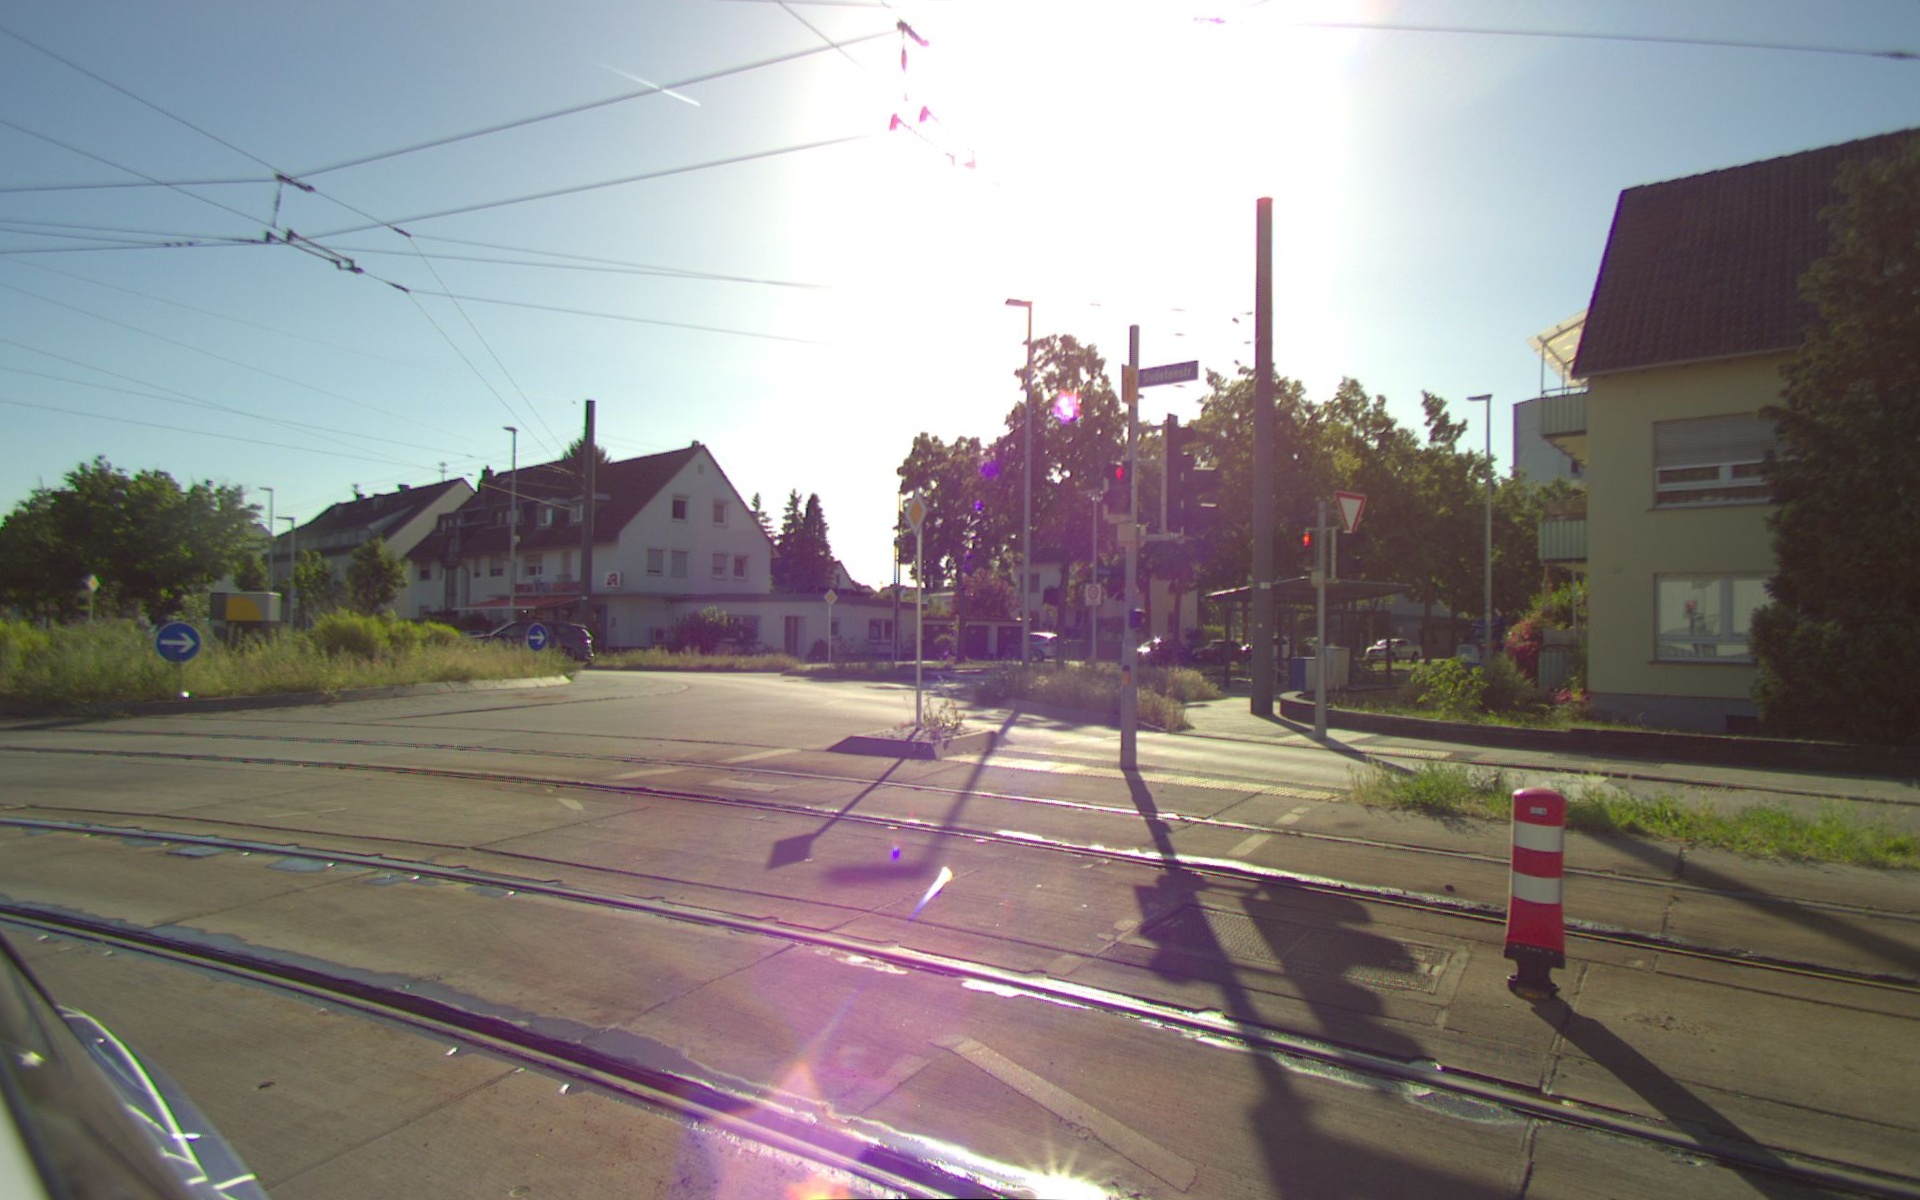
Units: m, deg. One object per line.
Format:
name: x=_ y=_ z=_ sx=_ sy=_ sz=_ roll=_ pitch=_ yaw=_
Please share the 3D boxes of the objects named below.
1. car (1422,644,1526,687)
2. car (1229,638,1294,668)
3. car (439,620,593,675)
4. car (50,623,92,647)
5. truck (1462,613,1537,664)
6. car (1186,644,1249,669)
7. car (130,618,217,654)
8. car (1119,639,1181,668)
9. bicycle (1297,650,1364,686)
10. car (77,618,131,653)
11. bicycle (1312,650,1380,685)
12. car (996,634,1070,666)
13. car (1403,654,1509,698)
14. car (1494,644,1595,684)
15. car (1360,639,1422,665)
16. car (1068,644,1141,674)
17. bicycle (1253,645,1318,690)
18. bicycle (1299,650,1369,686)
car: x=21.349 y=2.686 z=42.112 sx=1.553 sy=1.545 sz=3.534 roll=3 pitch=-1 yaw=-41
car: x=19.042 y=3.343 z=63.843 sx=4.153 sy=1.712 sz=2.003 roll=3 pitch=-1 yaw=-42
car: x=-14.251 y=1.537 z=32.739 sx=4.364 sy=1.592 sz=1.842 roll=2 pitch=-1 yaw=-19
car: x=-60.130 y=2.357 z=68.434 sx=4.073 sy=1.604 sz=1.525 roll=-1 pitch=-3 yaw=40
truck: x=45.392 y=3.233 z=85.030 sx=7.885 sy=4.023 sz=3.084 roll=2 pitch=-1 yaw=-42
car: x=15.484 y=3.374 z=60.809 sx=1.968 sy=1.334 sz=3.942 roll=1 pitch=-1 yaw=44
car: x=-38.185 y=1.751 z=49.200 sx=3.025 sy=1.632 sz=1.415 roll=2 pitch=-1 yaw=-19
car: x=10.732 y=3.010 z=57.021 sx=1.804 sy=1.475 sz=3.750 roll=1 pitch=-1 yaw=40
bicycle: x=11.657 y=2.126 z=31.874 sx=0.679 sy=1.035 sz=1.848 roll=3 pitch=-1 yaw=-45
car: x=-54.900 y=2.258 z=64.872 sx=4.368 sy=2.030 sz=1.871 roll=1 pitch=-1 yaw=40
bicycle: x=12.726 y=2.220 z=33.404 sx=0.679 sy=1.035 sz=1.981 roll=3 pitch=-1 yaw=-45
car: x=4.228 y=2.892 z=59.004 sx=1.968 sy=1.707 sz=4.058 roll=3 pitch=-2 yaw=-40
car: x=20.016 y=3.038 z=40.927 sx=1.553 sy=1.545 sz=3.534 roll=3 pitch=-1 yaw=-41
car: x=25.690 y=2.797 z=44.563 sx=1.553 sy=1.545 sz=3.534 roll=3 pitch=-1 yaw=-41
car: x=31.661 y=3.799 z=74.245 sx=4.978 sy=1.786 sz=2.004 roll=3 pitch=-1 yaw=-38
car: x=7.241 y=2.935 z=50.619 sx=1.600 sy=1.375 sz=3.942 roll=1 pitch=-1 yaw=44
bicycle: x=9.638 y=1.994 z=30.002 sx=0.679 sy=1.217 sz=1.672 roll=3 pitch=-1 yaw=-45
bicycle: x=12.076 y=2.189 z=32.721 sx=0.686 sy=1.035 sz=1.981 roll=3 pitch=-1 yaw=-45
